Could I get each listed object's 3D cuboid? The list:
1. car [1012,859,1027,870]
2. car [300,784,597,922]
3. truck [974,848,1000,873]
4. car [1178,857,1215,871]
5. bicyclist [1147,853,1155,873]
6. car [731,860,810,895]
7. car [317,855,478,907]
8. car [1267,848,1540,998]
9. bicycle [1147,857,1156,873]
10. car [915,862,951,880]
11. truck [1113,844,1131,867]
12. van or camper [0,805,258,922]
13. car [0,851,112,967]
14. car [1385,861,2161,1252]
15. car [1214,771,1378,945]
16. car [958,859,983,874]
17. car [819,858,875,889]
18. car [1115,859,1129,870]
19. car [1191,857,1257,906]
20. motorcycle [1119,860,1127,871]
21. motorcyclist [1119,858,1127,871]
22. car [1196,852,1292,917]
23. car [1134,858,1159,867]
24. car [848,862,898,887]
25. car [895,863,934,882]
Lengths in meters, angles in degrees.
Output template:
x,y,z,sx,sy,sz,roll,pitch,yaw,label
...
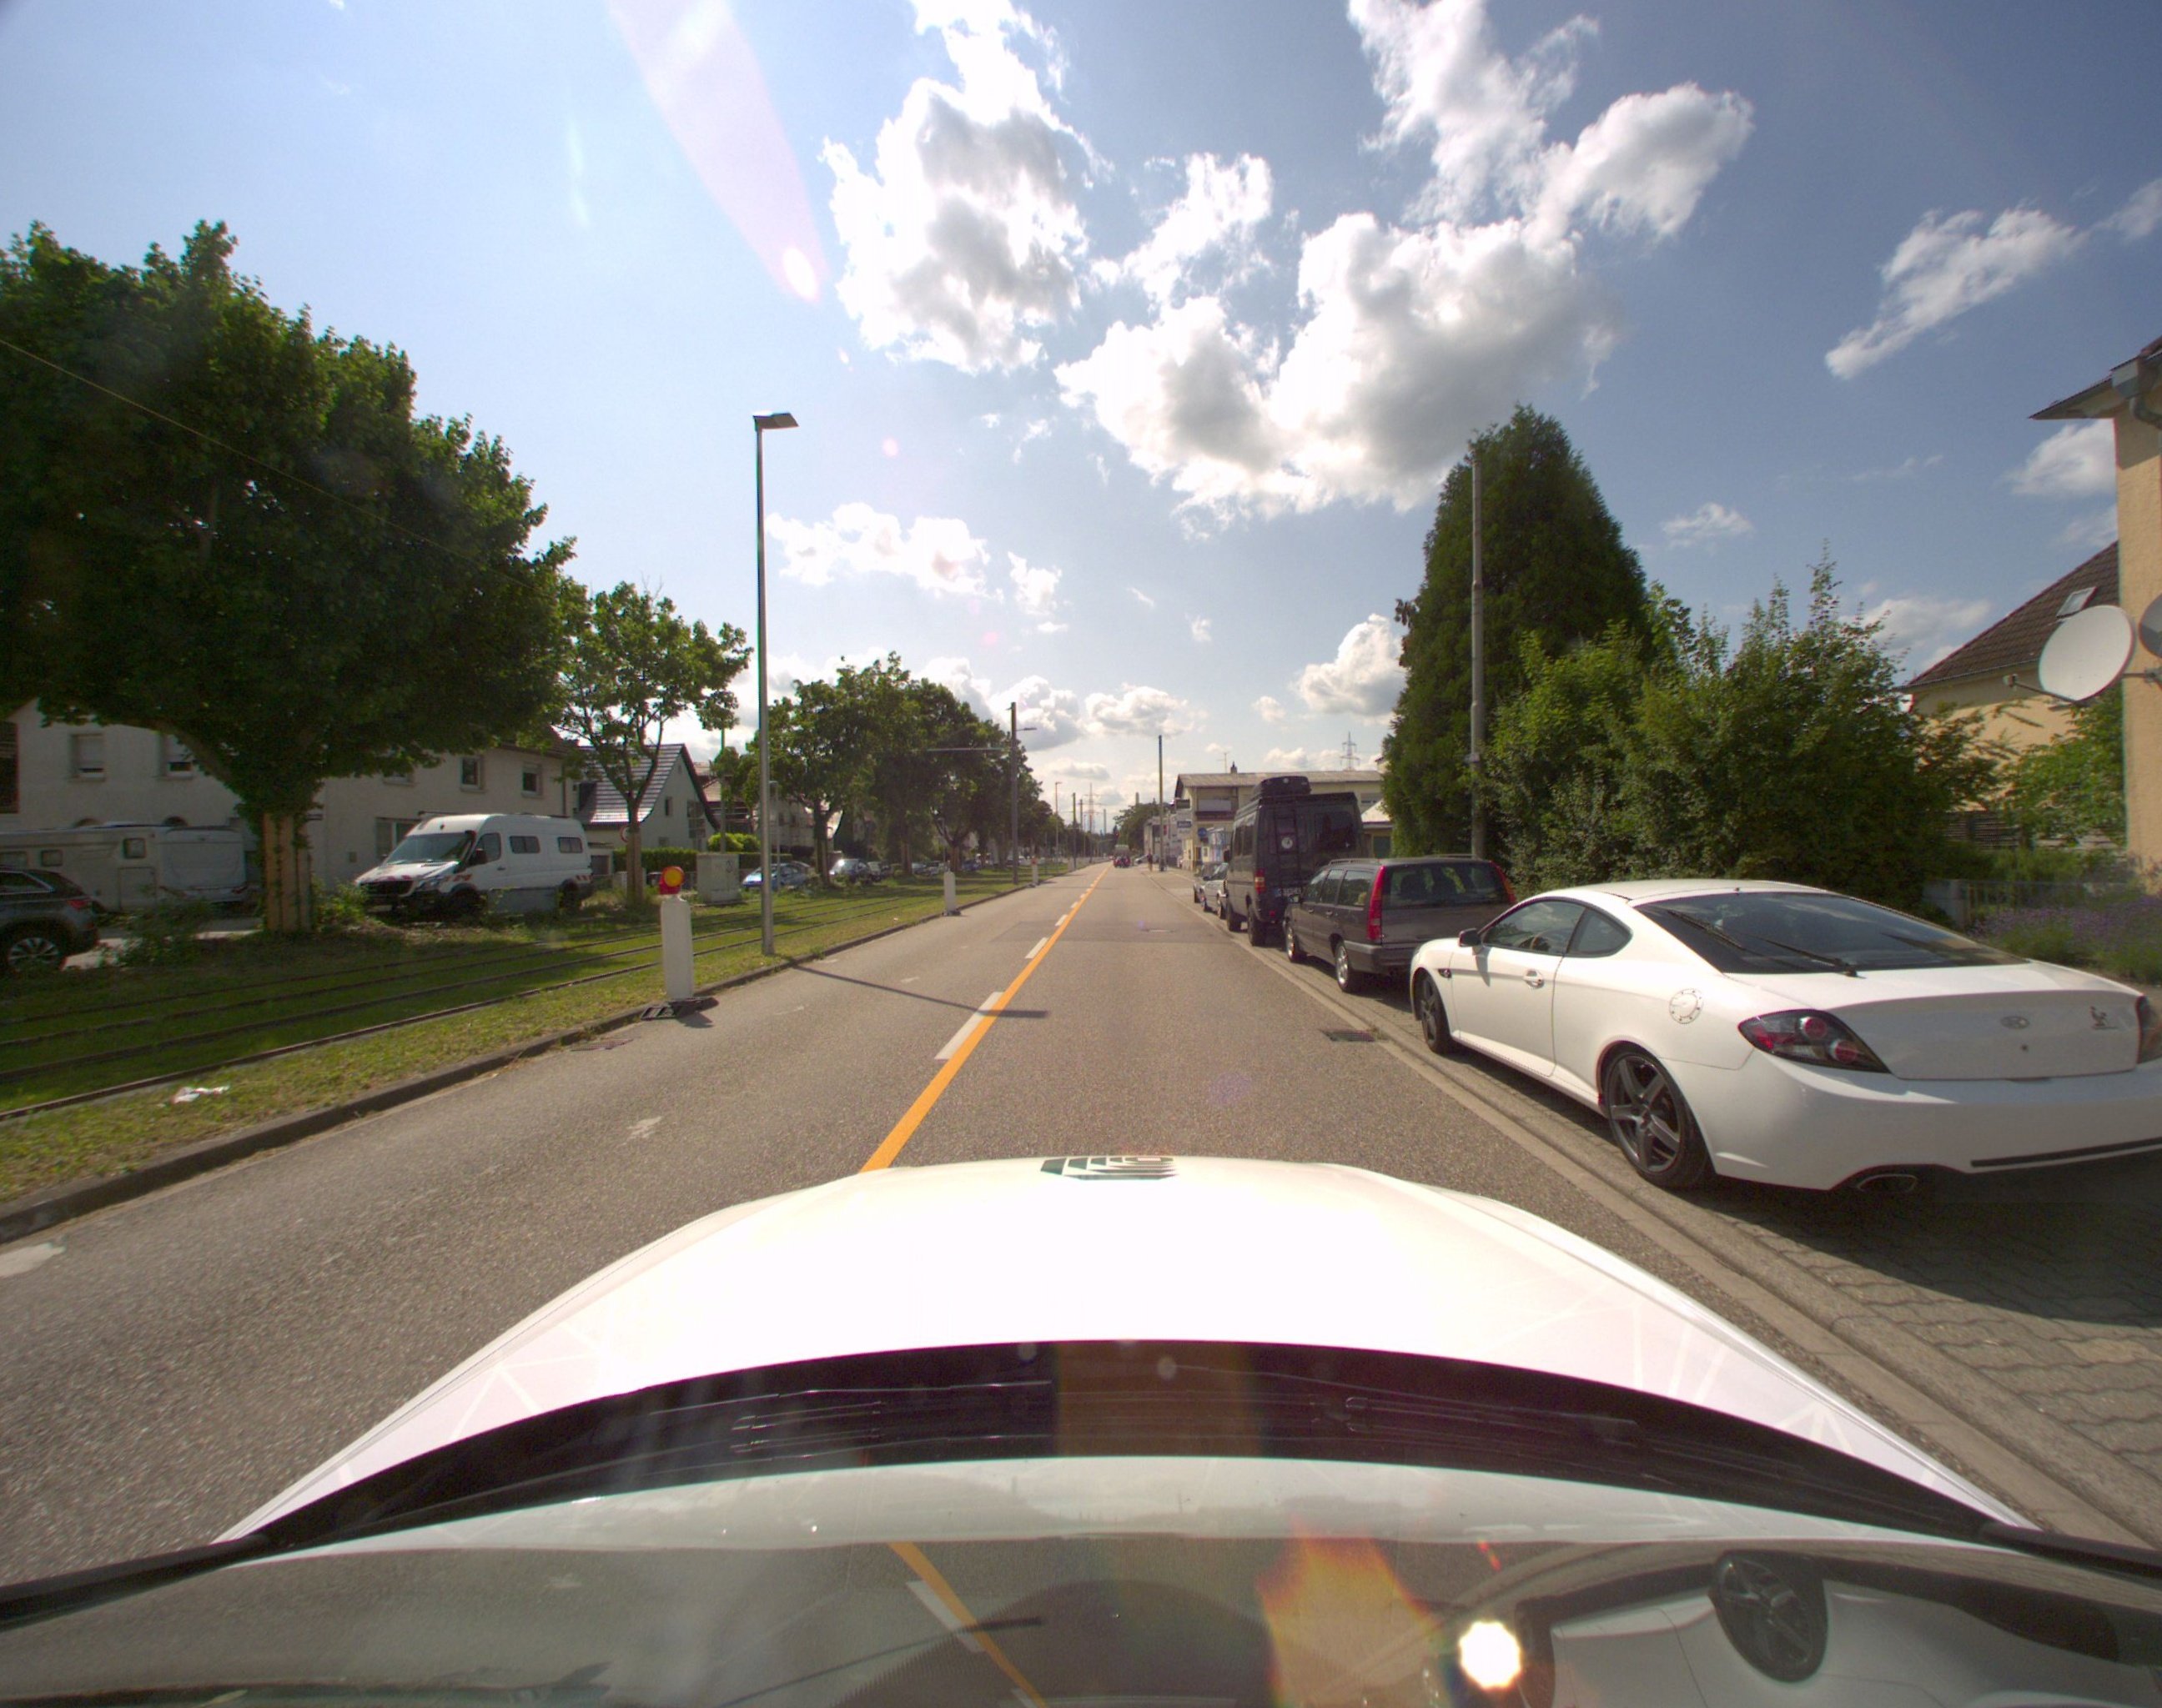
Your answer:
x,y,z,sx,sy,sz,roll,pitch,yaw,label
-9.876,1.649,131.101,1.985,1.750,4.002,-1,-1,3,car
-14.607,-0.001,19.560,1.987,2.730,6.463,-1,0,1,car
-11.162,0.788,97.301,1.985,2.767,6.280,-4,0,3,truck
13.156,1.148,92.653,4.158,1.431,1.825,-1,-1,9,car
6.376,0.812,73.901,0.668,1.744,0.814,-1,-1,2,bicyclist
-13.829,1.038,36.478,1.746,1.436,3.894,-1,-1,5,car
-22.873,0.871,27.479,1.895,1.577,4.003,-1,-1,3,car
3.660,0.696,10.289,1.714,1.402,4.840,-2,-1,3,car
6.359,0.998,73.818,0.690,1.361,2.420,-1,0,2,bicycle
-12.451,1.432,68.793,1.797,1.482,4.943,-1,-1,3,car
6.415,0.174,125.680,2.599,3.256,9.190,-1,1,3,truck
-29.105,0.299,24.197,6.701,3.222,2.636,-1,-1,2,van or camper
-15.124,0.716,9.564,1.985,1.506,4.489,-1,-1,3,car
3.396,0.718,4.856,1.714,1.295,4.130,-2,-1,2,car
3.872,0.094,15.586,1.988,2.761,4.882,-2,-1,3,car
-11.665,1.316,86.355,1.987,1.453,4.000,-1,-1,1,car
-13.465,1.110,47.214,1.987,1.691,4.390,-1,-1,-1,car
5.487,1.451,109.348,1.814,1.424,4.003,0,0,3,car
4.541,0.858,26.403,1.644,1.431,4.100,-1,-1,4,car
5.438,1.469,104.869,0.935,1.320,2.646,2,-1,3,motorcycle
5.436,1.314,104.690,0.935,1.615,1.205,2,-1,2,motorcyclist
4.223,0.780,21.713,1.686,1.516,4.355,-1,-1,0,car
11.773,1.521,146.625,4.324,1.552,1.946,-1,-1,-6,car
-13.459,1.324,52.962,1.986,1.439,4.002,-2,-1,2,car
-12.850,1.415,63.145,1.986,1.318,3.854,-3,-1,2,car
